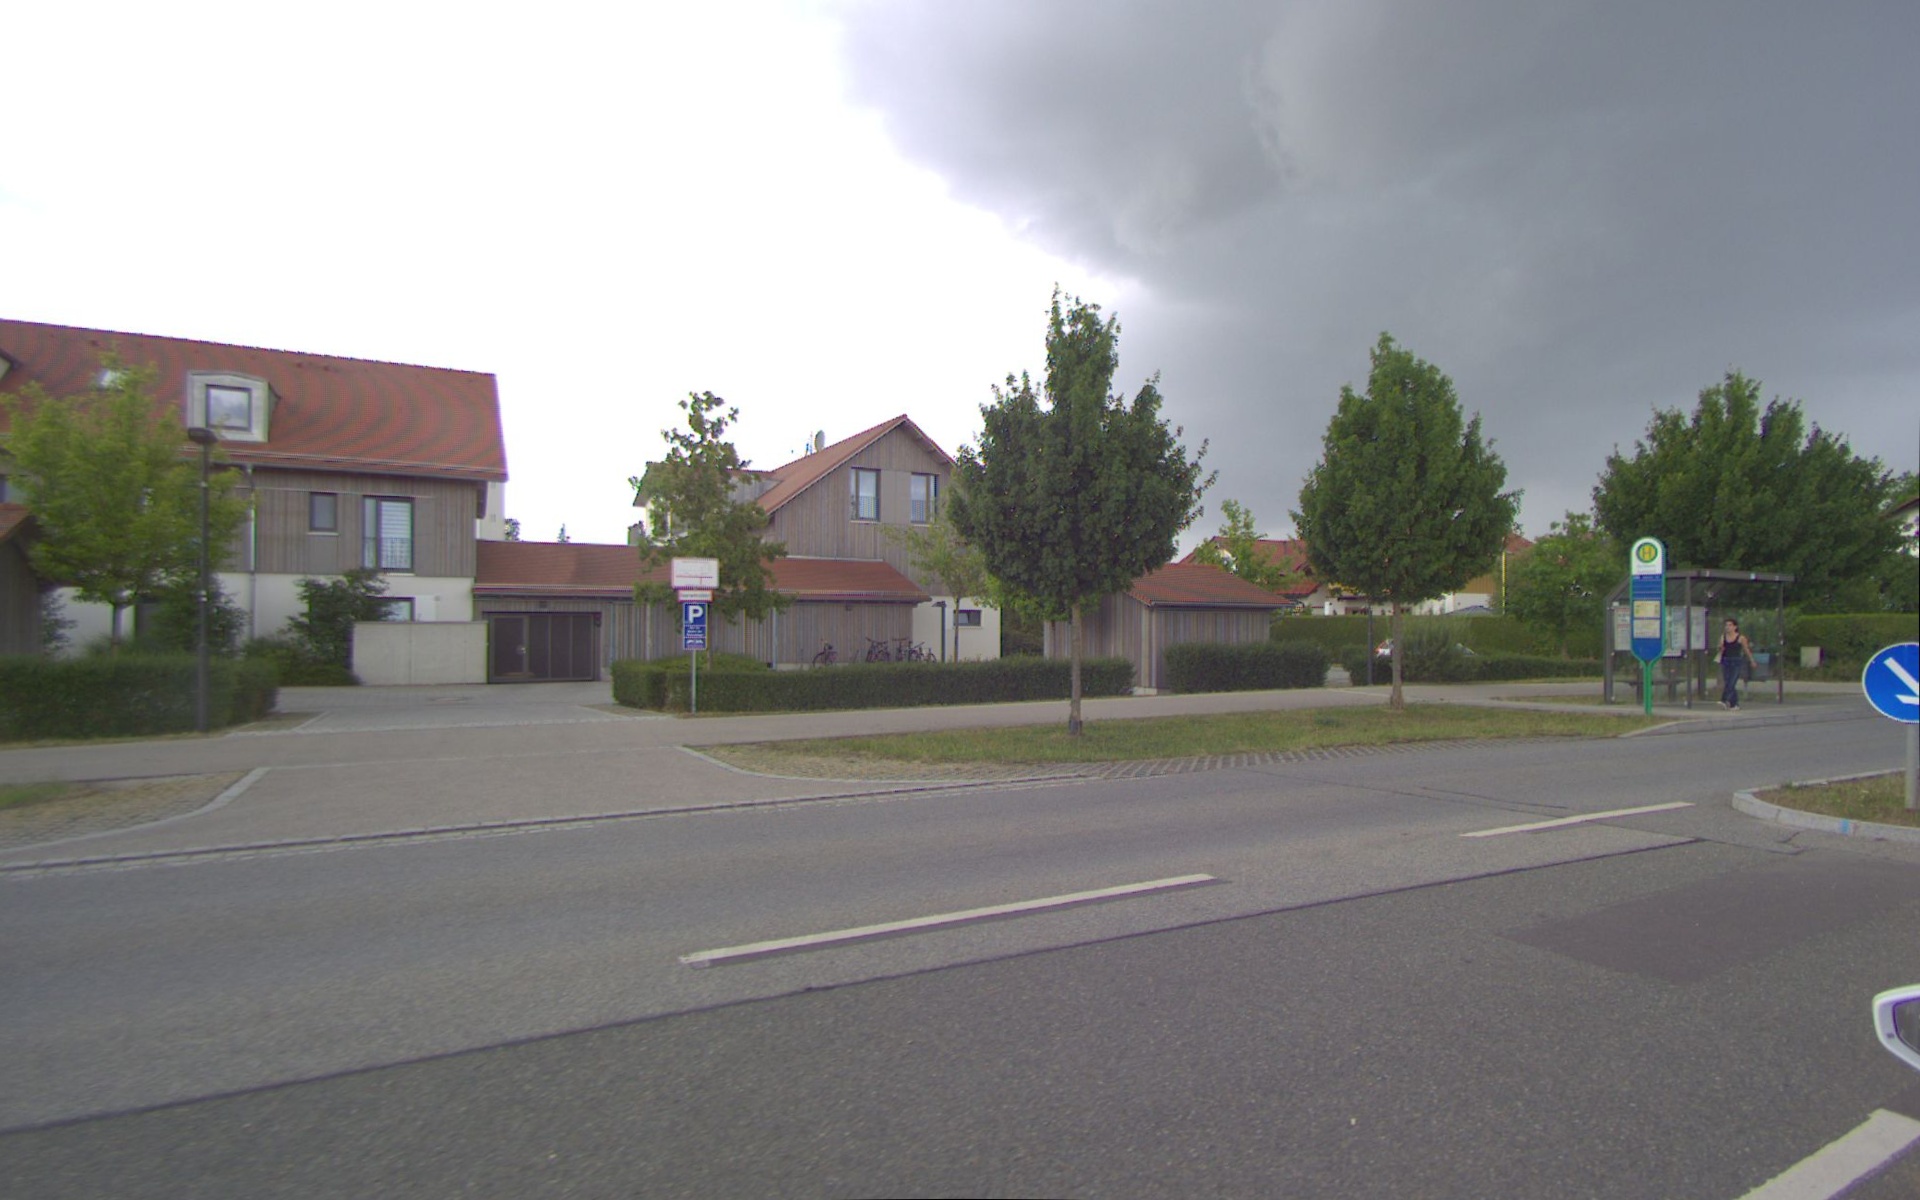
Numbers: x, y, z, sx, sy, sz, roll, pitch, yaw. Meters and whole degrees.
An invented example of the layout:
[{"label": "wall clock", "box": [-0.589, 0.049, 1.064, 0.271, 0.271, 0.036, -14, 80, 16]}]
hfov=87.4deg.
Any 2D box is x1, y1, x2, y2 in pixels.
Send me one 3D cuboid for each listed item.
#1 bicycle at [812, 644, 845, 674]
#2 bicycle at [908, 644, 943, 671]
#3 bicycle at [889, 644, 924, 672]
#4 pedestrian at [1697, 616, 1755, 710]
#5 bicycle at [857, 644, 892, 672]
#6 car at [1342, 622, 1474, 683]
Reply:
[{"label": "bicycle", "box": [-4.534, 2.013, 34.510, 0.414, 0.921, 1.932, 1, -1, -31]}, {"label": "bicycle", "box": [-1.261, 2.078, 36.515, 0.414, 0.921, 1.932, 1, -1, -31]}, {"label": "bicycle", "box": [-1.941, 2.069, 36.134, 0.414, 0.921, 1.932, 1, -1, -31]}, {"label": "pedestrian", "box": [13.938, 1.131, 18.287, 0.803, 1.658, 0.585, 1, -1, -30]}, {"label": "bicycle", "box": [-3.036, 2.024, 35.480, 0.414, 0.921, 1.932, 1, -1, -31]}, {"label": "car", "box": [16.100, 1.836, 36.264, 1.977, 2.040, 3.966, 1, -1, -31]}]
